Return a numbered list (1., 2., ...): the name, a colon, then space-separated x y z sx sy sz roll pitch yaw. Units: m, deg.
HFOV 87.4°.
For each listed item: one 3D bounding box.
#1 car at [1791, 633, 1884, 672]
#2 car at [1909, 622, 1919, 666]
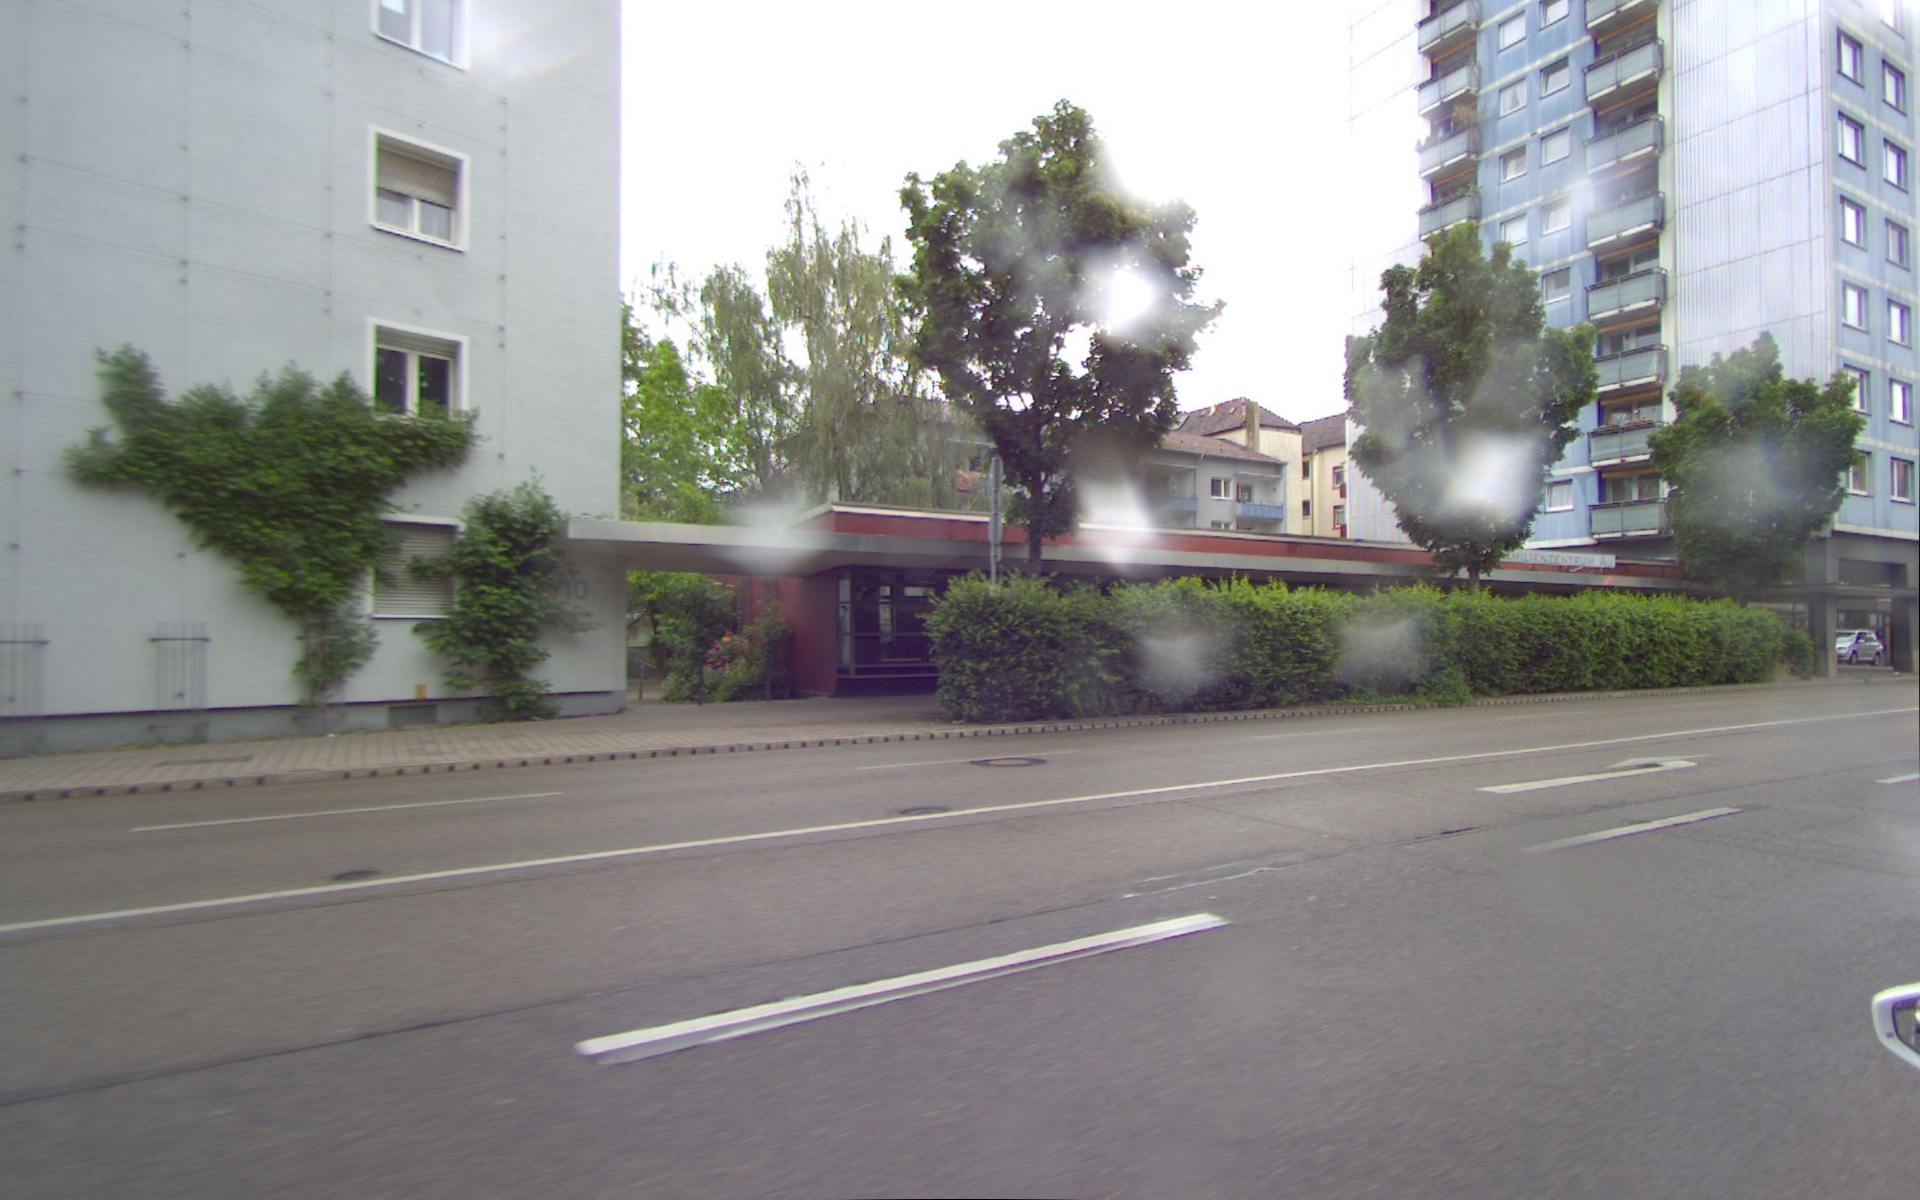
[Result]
1. car: 40.546 2.397 46.414 4.459 1.676 1.984 1 -2 -31
2. car: 40.107 1.790 40.517 4.237 1.728 1.532 1 -1 -30
